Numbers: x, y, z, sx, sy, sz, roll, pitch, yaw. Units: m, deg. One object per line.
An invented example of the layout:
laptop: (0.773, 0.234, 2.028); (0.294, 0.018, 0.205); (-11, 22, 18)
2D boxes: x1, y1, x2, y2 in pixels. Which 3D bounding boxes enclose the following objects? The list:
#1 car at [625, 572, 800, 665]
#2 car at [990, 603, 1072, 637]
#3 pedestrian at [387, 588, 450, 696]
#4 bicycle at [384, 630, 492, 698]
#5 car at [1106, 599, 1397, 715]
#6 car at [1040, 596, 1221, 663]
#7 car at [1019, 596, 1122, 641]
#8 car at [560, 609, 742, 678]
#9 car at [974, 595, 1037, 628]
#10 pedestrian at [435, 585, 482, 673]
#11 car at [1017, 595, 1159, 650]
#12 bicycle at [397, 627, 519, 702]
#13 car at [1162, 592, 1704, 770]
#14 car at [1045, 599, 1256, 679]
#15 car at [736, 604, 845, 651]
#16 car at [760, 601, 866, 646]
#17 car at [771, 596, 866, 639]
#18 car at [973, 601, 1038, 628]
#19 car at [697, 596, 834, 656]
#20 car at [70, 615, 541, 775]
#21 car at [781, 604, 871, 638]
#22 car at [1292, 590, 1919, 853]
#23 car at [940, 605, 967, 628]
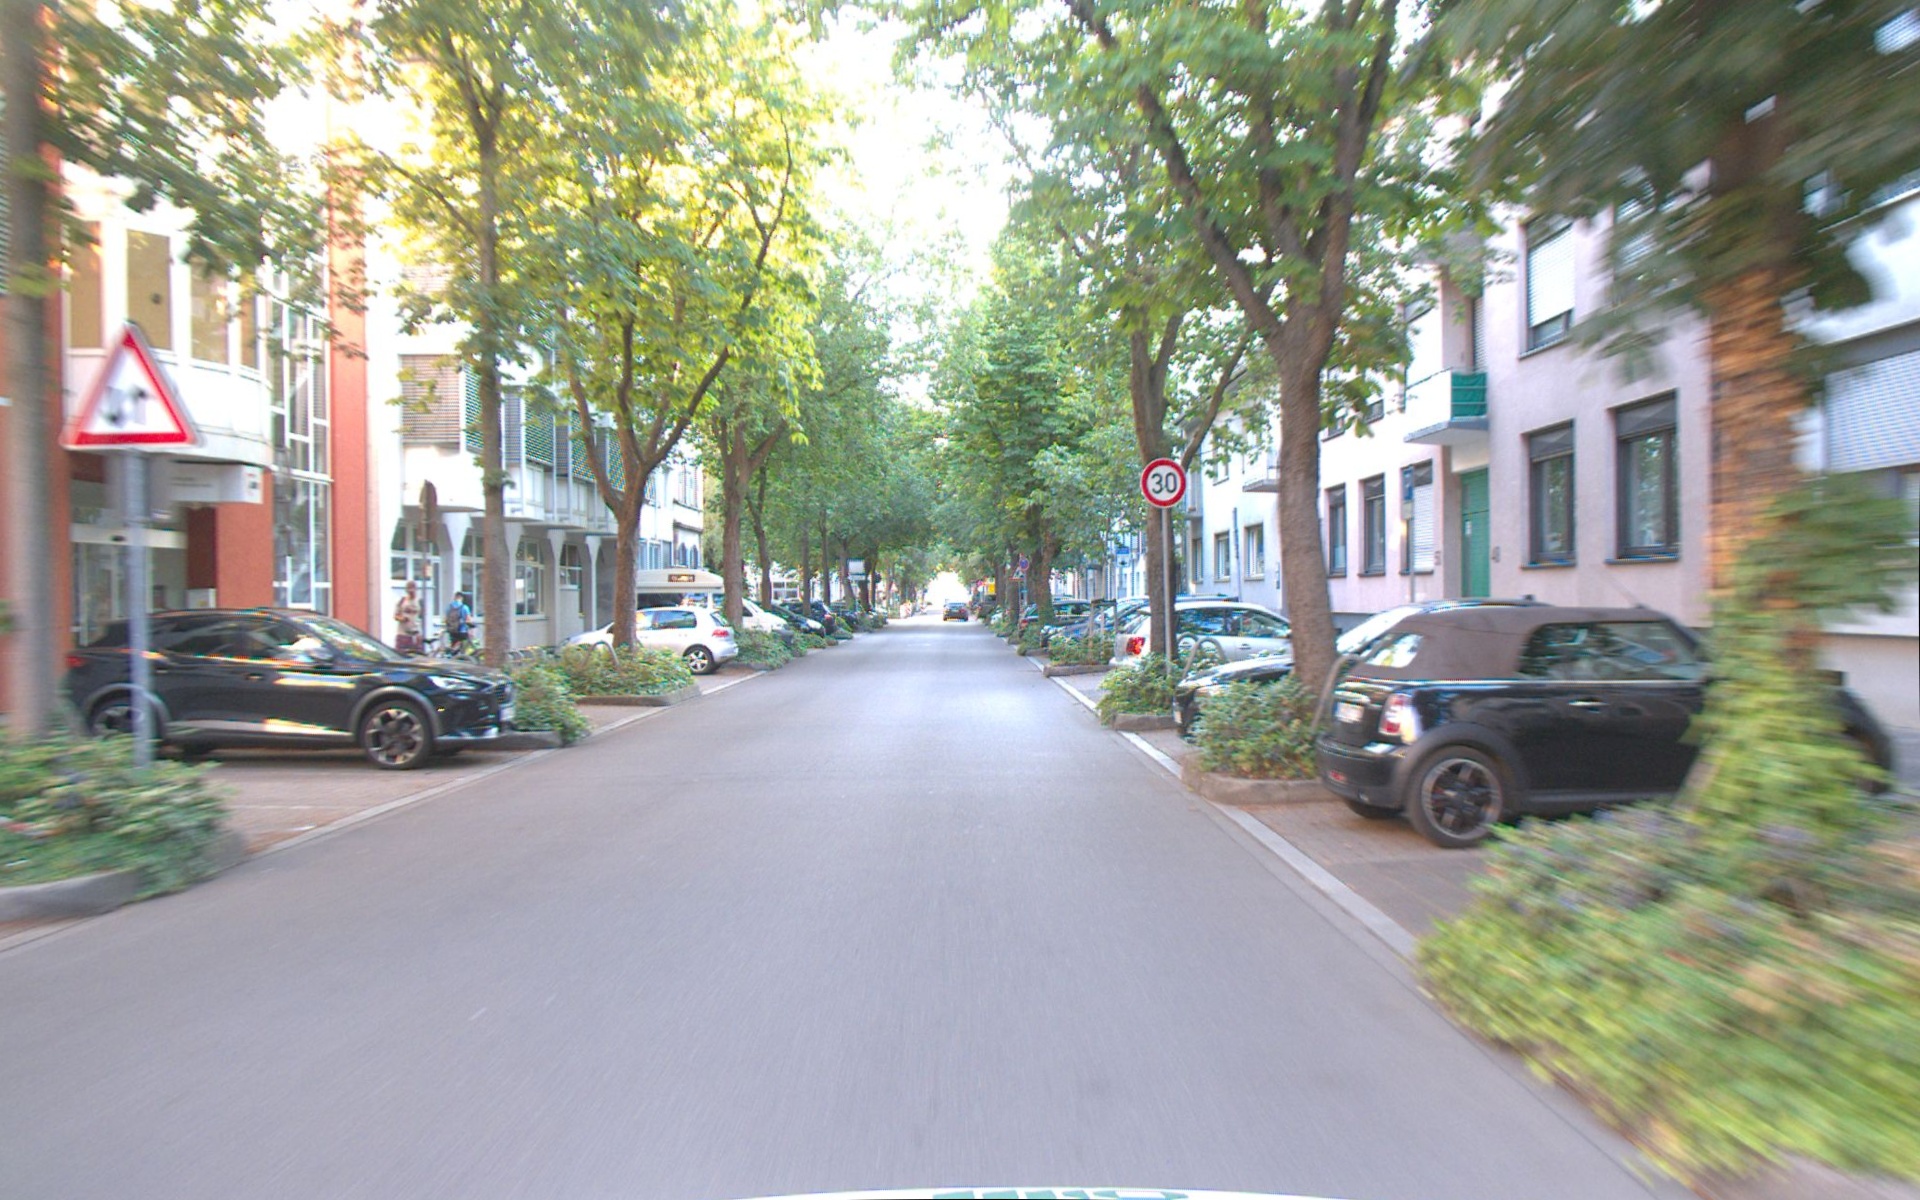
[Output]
car: (-6.852, 0.515, 46.153); (4.586, 2.521, 2.000); (0, 0, -1)
car: (3.680, 1.048, 86.267); (4.181, 1.593, 1.963); (-2, 0, -1)
pedestrian: (-9.060, 0.693, 27.678); (0.689, 1.788, 0.739); (0, -1, 23)
bicycle: (-8.498, 1.023, 26.901); (1.758, 1.047, 0.500); (0, 0, 22)
car: (4.140, 0.786, 23.898); (3.800, 1.465, 1.846); (-2, 0, -4)
car: (4.518, 0.774, 44.235); (4.587, 1.548, 1.963); (-2, 0, -1)
car: (4.388, 0.738, 66.256); (3.968, 1.625, 1.825); (-2, 0, -1)
car: (-7.016, 0.974, 37.818); (3.790, 1.512, 1.757); (0, 0, 1)
car: (3.066, 0.775, 112.074); (4.181, 1.996, 1.963); (-2, 0, -1)
pedestrian: (-10.182, 0.582, 33.590); (0.689, 1.758, 0.905); (0, -1, 0)
car: (4.081, 0.719, 53.143); (4.414, 1.548, 1.996); (-2, 0, 3)
bicycle: (-7.815, 0.992, 25.749); (1.771, 1.127, 0.496); (1, 0, -24)
car: (4.392, 0.722, 15.928); (4.615, 1.446, 2.035); (-2, 0, -1)
car: (4.282, 0.866, 37.739); (4.620, 1.740, 1.950); (0, 1, 1)
car: (-6.759, 1.087, 66.327); (4.117, 1.664, 1.963); (-2, 0, -1)
car: (-6.532, 1.036, 74.022); (4.501, 1.839, 1.963); (-2, 0, -1)
car: (-7.287, 0.905, 85.471); (4.665, 2.019, 1.963); (-2, 0, -1)
car: (3.008, 0.953, 109.265); (4.181, 1.593, 1.963); (-2, 0, -1)
car: (-6.849, 0.913, 58.604); (4.587, 1.886, 1.963); (-2, 0, -1)
car: (-6.567, 0.932, 16.953); (4.043, 1.512, 1.929); (0, 0, -1)
car: (-7.267, 1.143, 89.790); (4.665, 1.658, 1.963); (-2, 0, -1)
car: (4.148, 0.729, 11.024); (3.413, 1.478, 1.899); (-2, 0, -2)
car: (-0.482, 1.207, 121.434); (1.916, 1.593, 4.282); (-2, 0, 0)
